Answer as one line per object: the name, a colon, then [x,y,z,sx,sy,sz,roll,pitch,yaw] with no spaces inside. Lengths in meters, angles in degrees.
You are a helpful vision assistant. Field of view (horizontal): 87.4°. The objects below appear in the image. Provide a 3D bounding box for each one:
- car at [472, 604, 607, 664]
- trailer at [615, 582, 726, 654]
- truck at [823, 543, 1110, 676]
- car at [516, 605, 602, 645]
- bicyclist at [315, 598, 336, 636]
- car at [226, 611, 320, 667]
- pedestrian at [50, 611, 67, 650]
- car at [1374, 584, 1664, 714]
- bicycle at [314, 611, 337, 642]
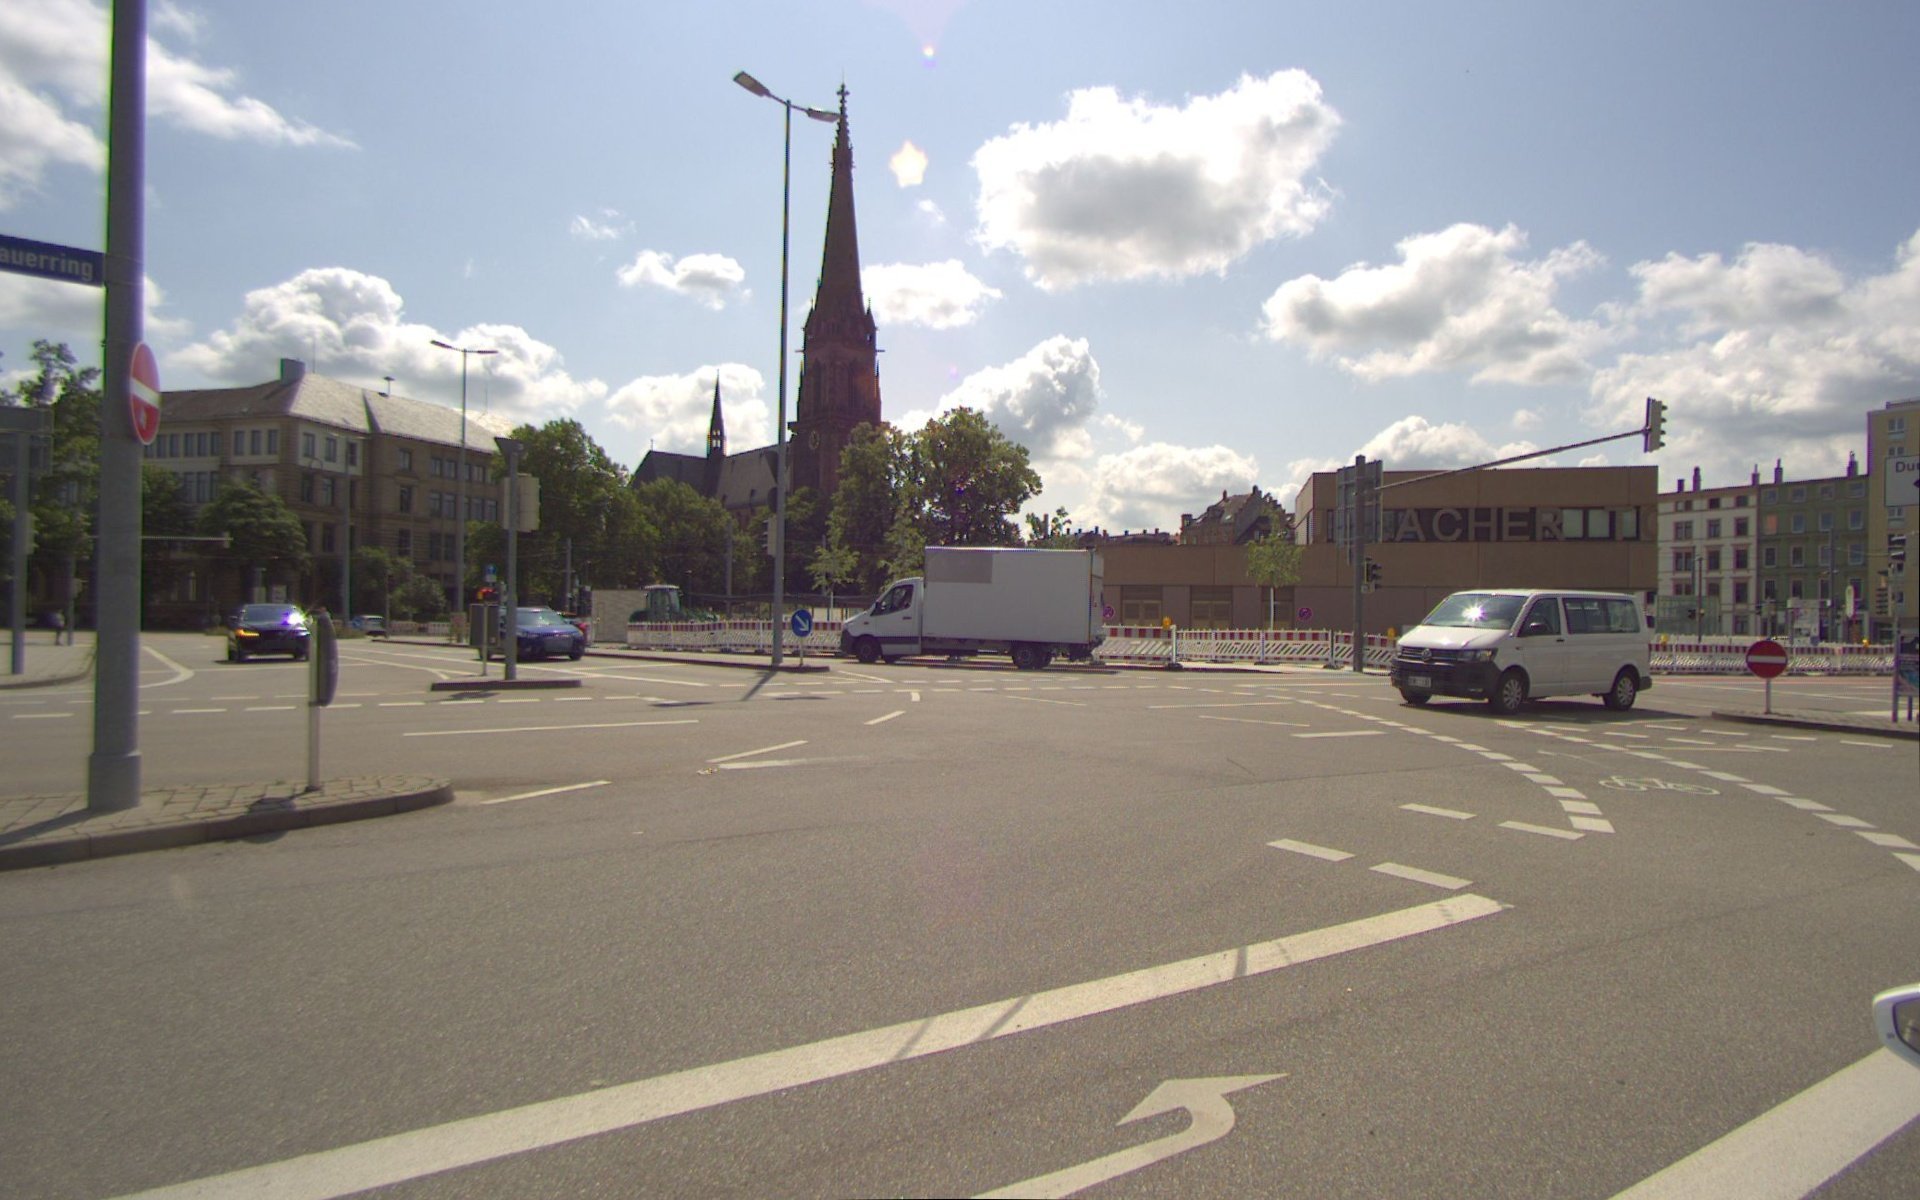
car: [-11.588,0.892,27.514,1.985,1.505,4.610,1,-2,-42]
trailer: [-12.860,0.797,44.864,4.281,2.952,2.000,2,0,-2]
truck: [0.173,0.194,26.377,7.182,3.108,2.001,2,0,15]
car: [-16.032,0.979,40.070,1.986,1.505,3.856,1,-2,-42]
bicyclist: [-26.009,0.700,41.166,0.661,1.553,0.640,2,0,-36]
car: [-20.270,1.095,29.548,1.983,1.505,4.461,1,-2,-38]
pedestrian: [-43.485,1.478,48.436,0.560,1.844,0.437,2,0,34]
car: [9.401,0.780,16.829,4.806,1.919,1.875,1,-1,-27]
bicycle: [-26.038,1.083,41.182,0.661,1.161,2.048,2,0,-35]
